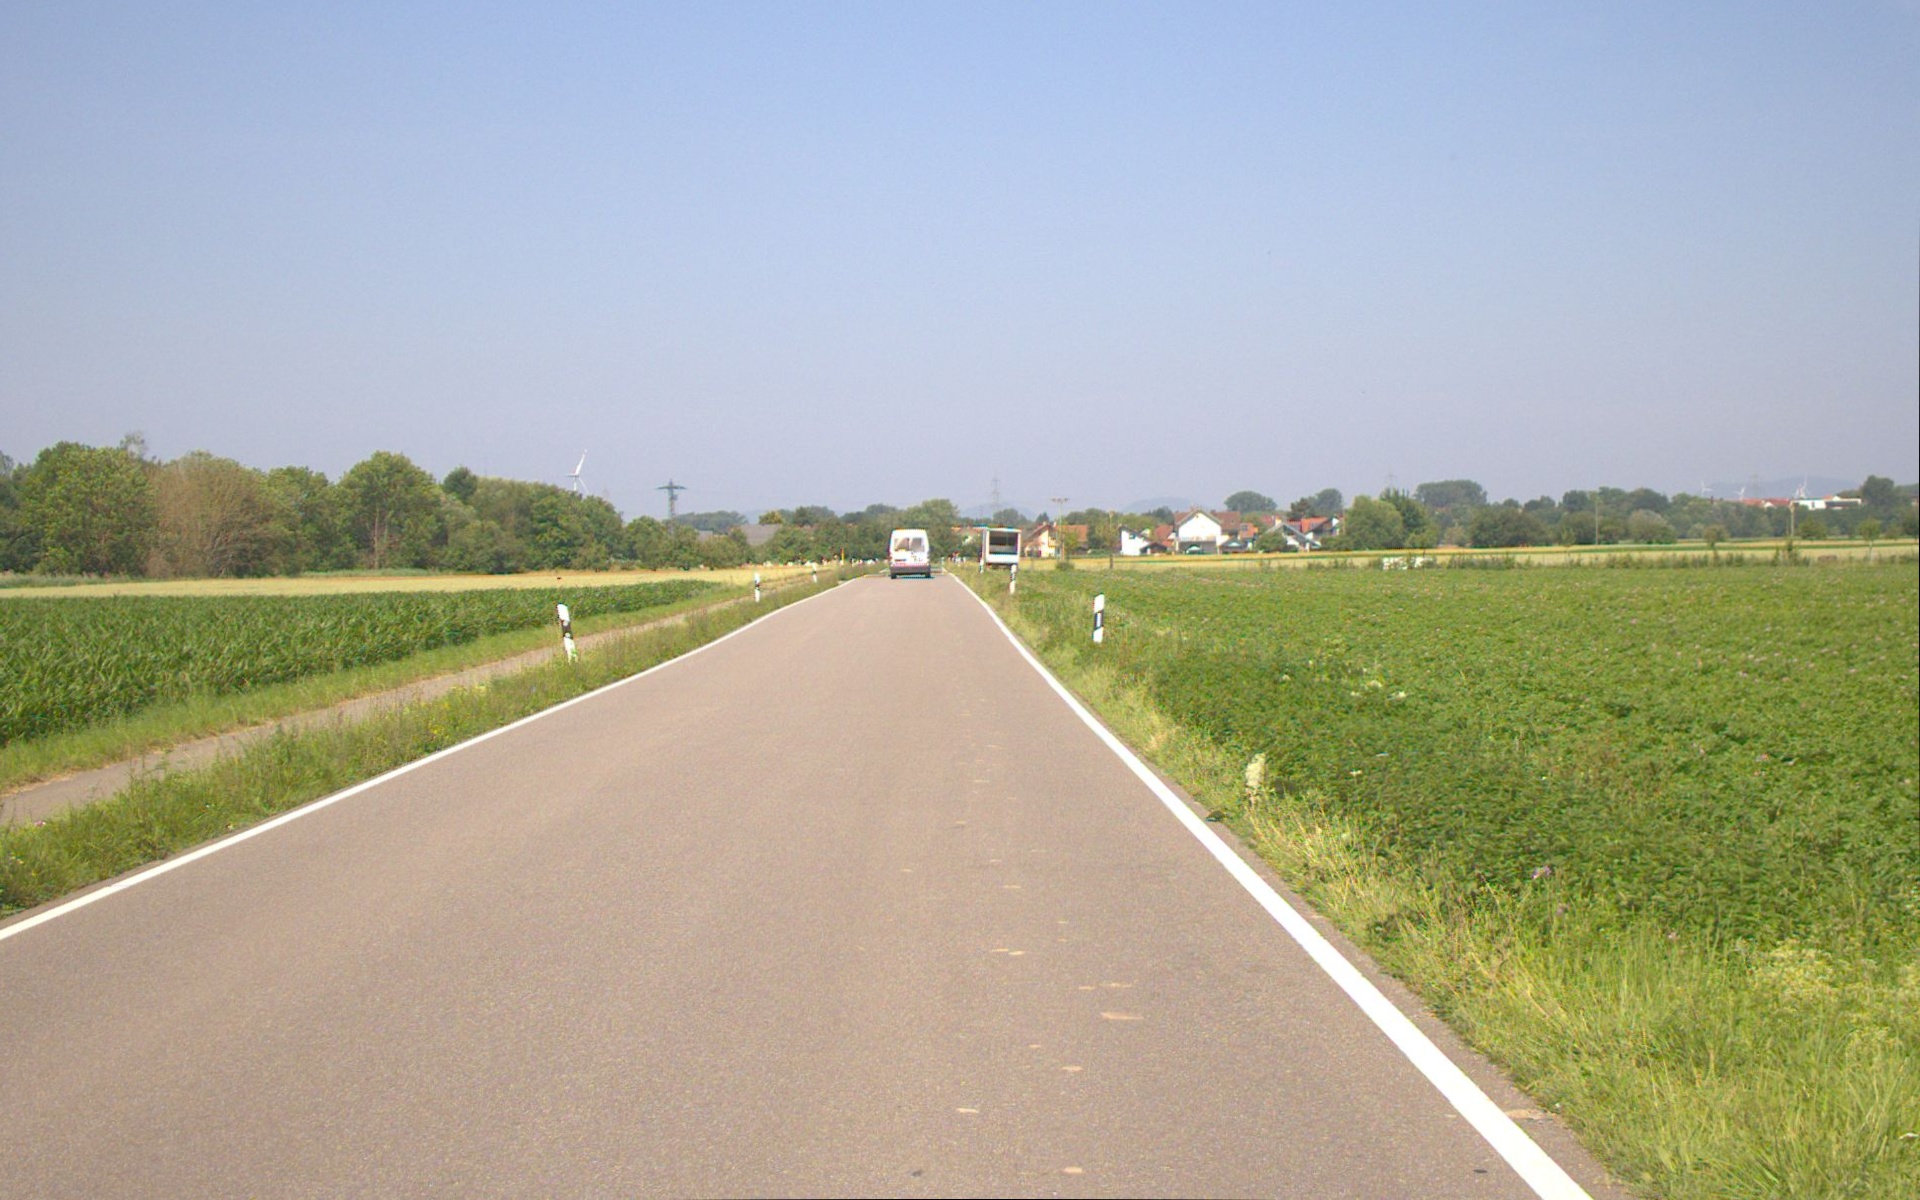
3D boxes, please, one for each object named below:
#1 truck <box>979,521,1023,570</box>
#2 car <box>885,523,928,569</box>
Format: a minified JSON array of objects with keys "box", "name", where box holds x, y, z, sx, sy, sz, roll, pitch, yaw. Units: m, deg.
[{"box":[2.579,-3.441,217.236,2.335,2.932,7.009,2,0,-2],"name":"truck"},{"box":[-2.725,-2.725,175.157,2.107,2.296,5.496,1,1,-1],"name":"car"}]
